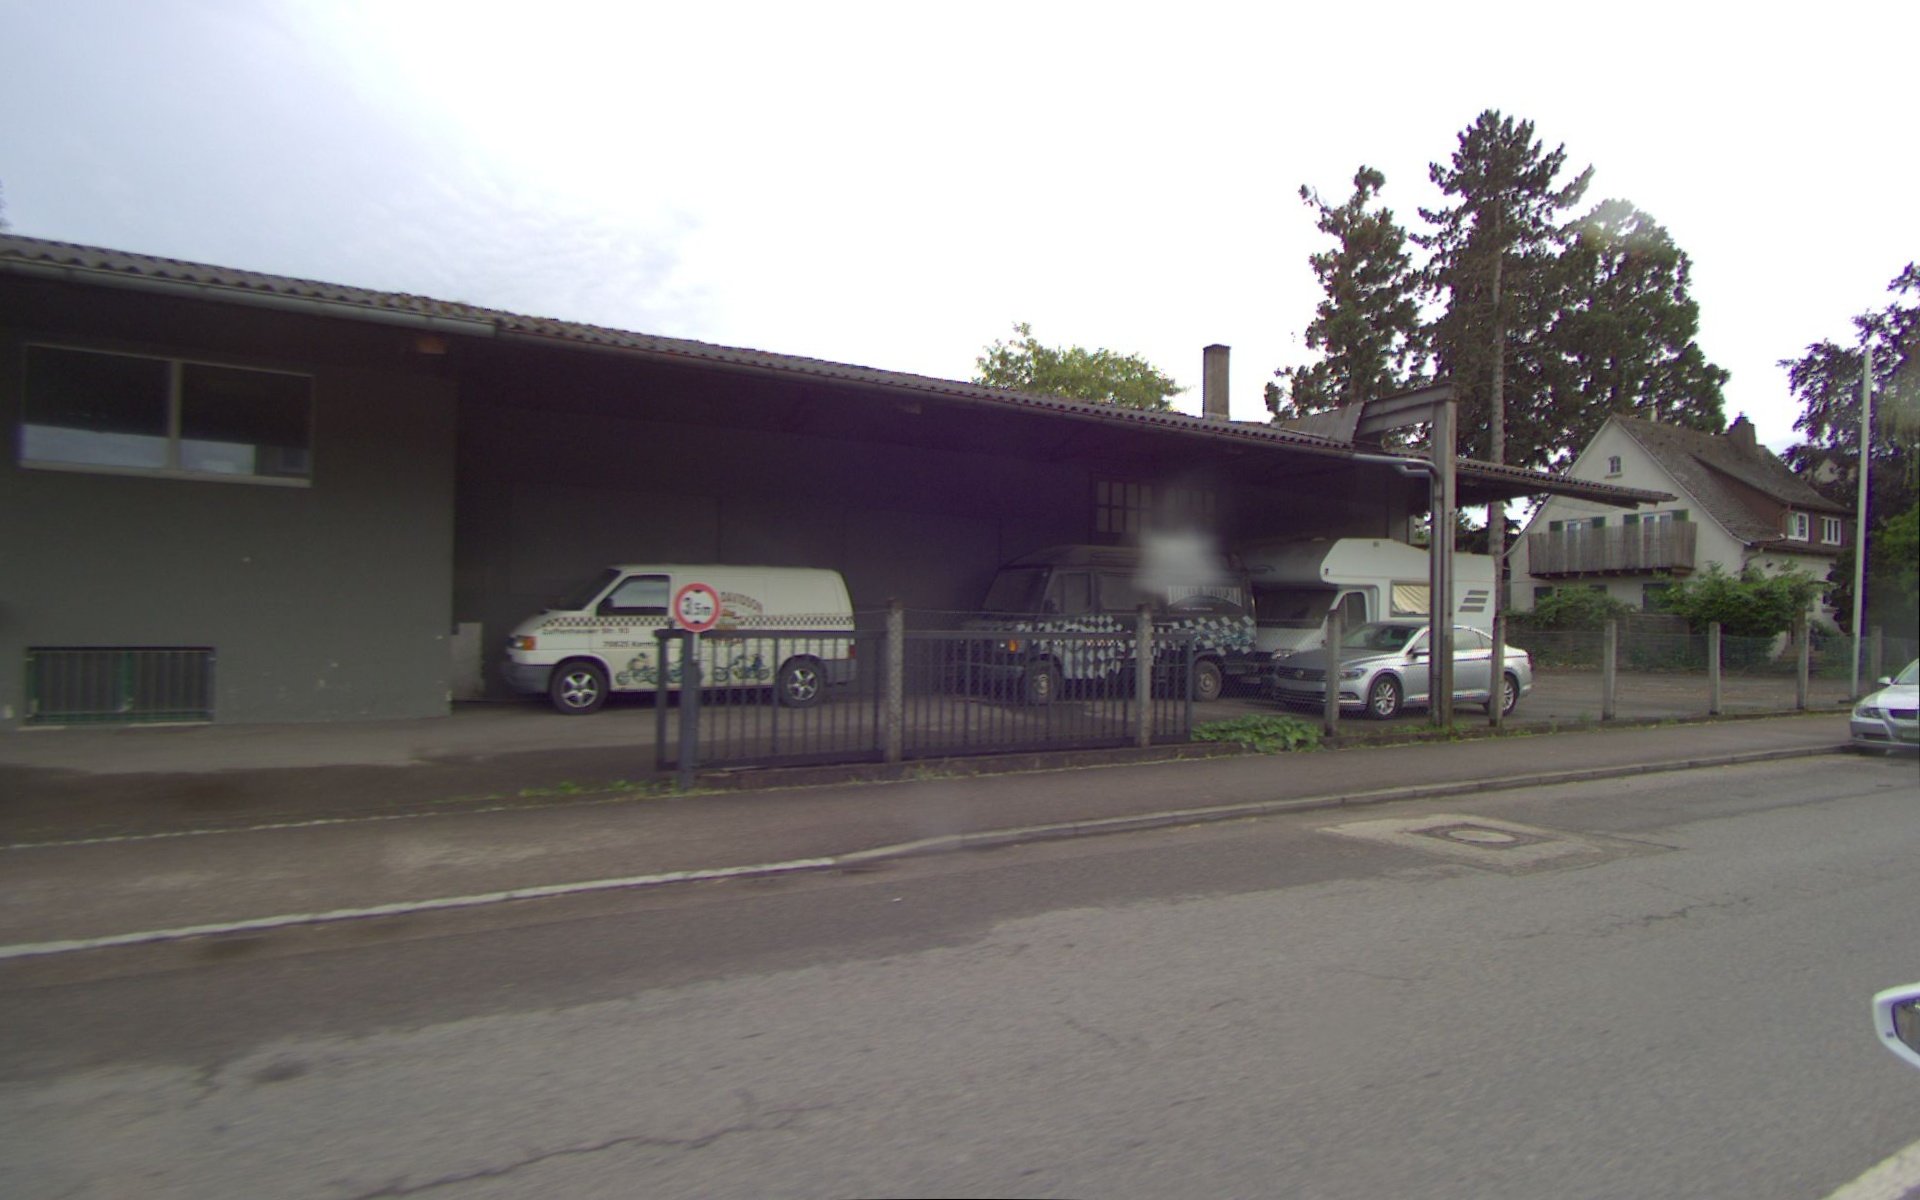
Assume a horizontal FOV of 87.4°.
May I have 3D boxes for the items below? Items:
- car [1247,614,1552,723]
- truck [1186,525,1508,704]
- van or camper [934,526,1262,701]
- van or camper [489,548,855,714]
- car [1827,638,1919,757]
[{"bbox_3d":[6.987,1.050,15.873,4.723,1.463,1.928,2,-1,-28],"label":"car"},{"bbox_3d":[7.396,0.334,19.039,5.884,2.966,2.384,3,0,-29],"label":"truck"},{"bbox_3d":[2.344,0.284,16.505,5.173,2.469,1.850,4,0,-30],"label":"van or camper"},{"bbox_3d":[-3.881,0.408,13.714,4.420,1.934,1.983,2,1,-31],"label":"van or camper"},{"bbox_3d":[13.866,1.348,13.677,4.132,1.499,1.736,4,-4,-28],"label":"car"}]
